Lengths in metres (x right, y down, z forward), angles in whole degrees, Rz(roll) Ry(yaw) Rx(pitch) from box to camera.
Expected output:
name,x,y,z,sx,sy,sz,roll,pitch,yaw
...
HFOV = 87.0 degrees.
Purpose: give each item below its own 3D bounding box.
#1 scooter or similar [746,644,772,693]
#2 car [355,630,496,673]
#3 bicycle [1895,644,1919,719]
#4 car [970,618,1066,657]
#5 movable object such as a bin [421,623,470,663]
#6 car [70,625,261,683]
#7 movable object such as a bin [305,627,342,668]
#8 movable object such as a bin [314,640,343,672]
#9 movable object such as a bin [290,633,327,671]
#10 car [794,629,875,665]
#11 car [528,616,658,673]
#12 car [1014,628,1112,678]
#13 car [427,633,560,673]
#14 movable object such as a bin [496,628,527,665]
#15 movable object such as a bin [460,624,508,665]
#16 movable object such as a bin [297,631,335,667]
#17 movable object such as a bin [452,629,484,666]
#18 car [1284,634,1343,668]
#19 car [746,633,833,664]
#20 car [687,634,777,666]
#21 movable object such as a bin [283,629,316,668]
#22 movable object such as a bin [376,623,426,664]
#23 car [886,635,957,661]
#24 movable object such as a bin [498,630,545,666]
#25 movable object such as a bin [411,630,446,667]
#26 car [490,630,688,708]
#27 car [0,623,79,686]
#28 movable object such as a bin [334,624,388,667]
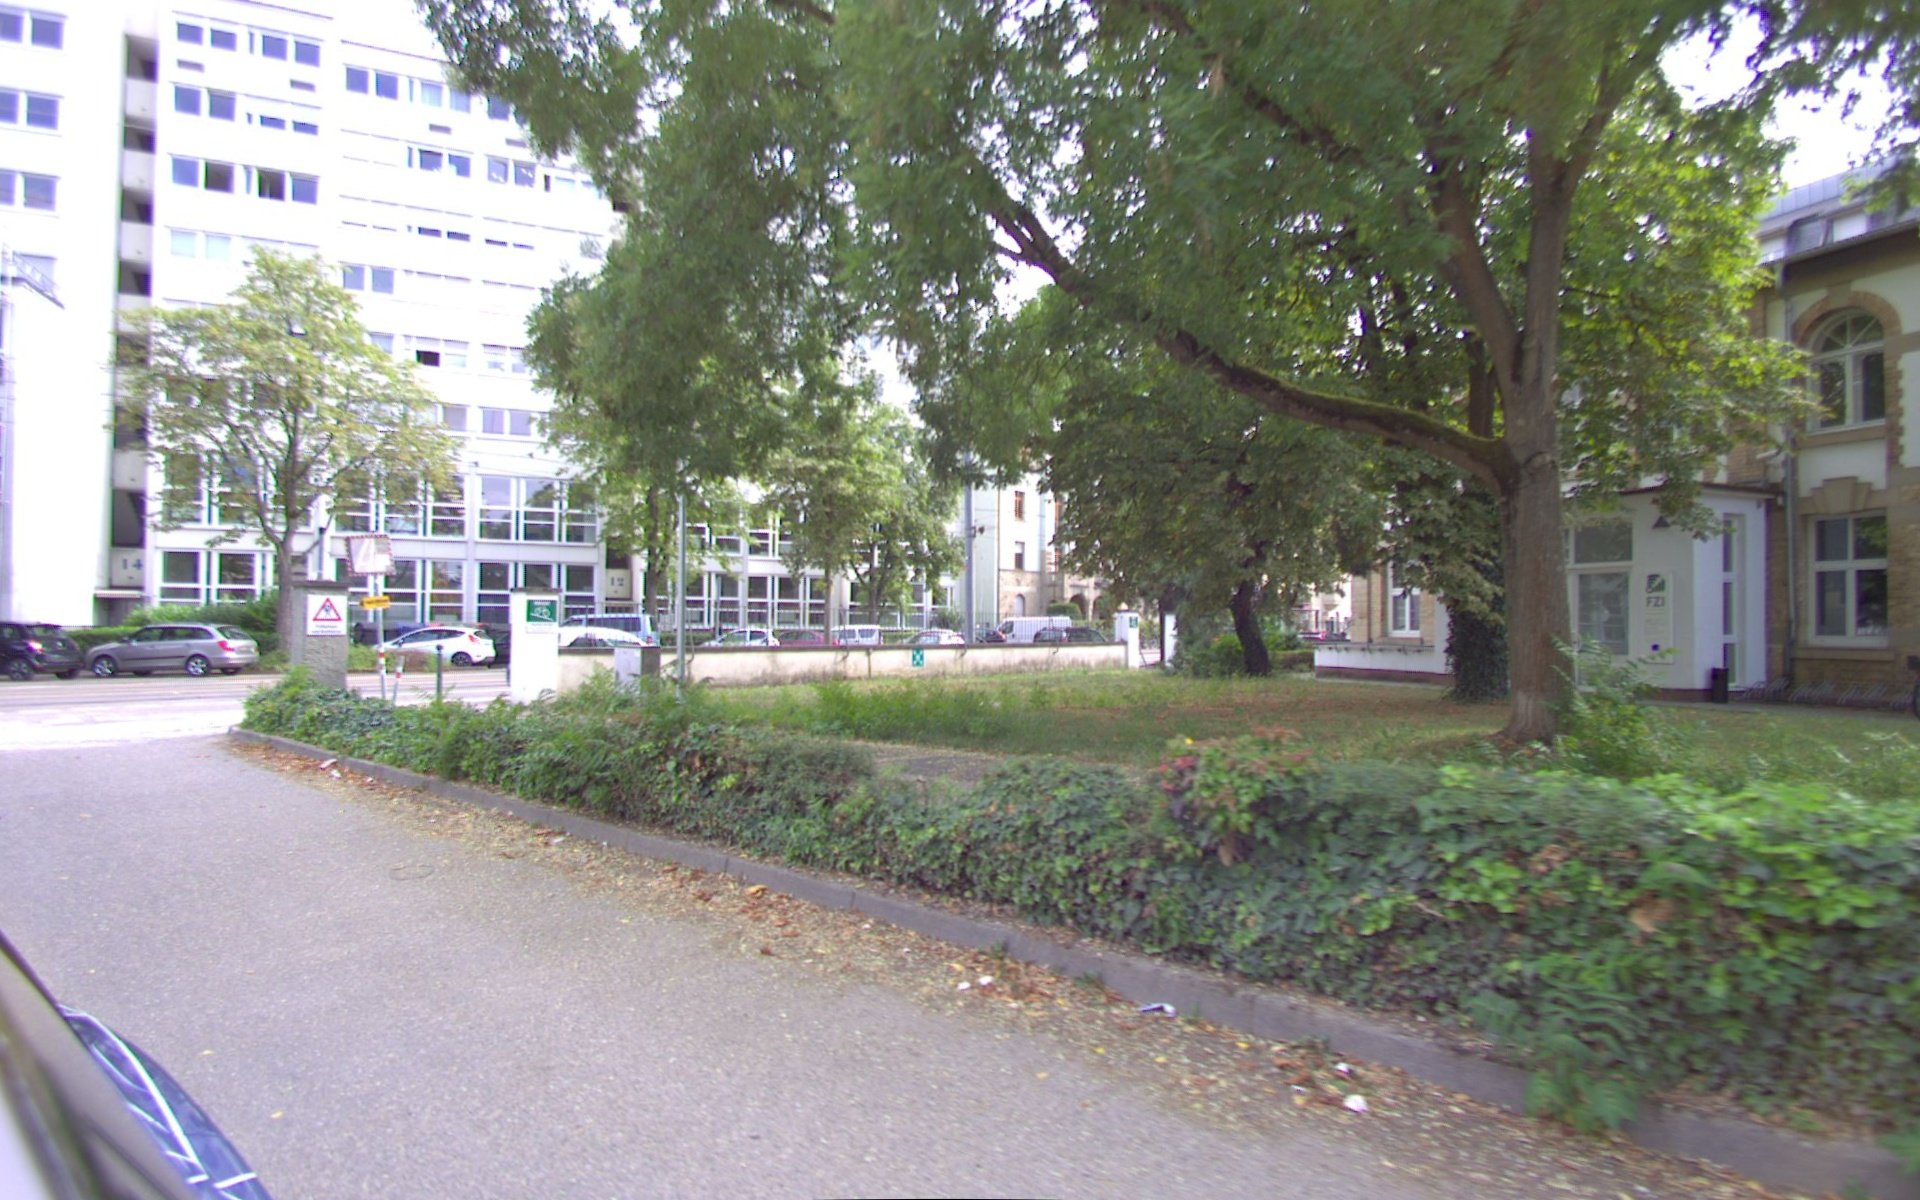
name,x,y,z,sx,sy,sz,roll,pitch,yaw
scooter or similar,-4.861,1.658,24.445,0.363,1.176,1.008,1,-5,-26
car,-17.715,1.706,33.653,3.802,1.403,1.636,0,-2,-6
bicycle,14.422,1.170,14.789,1.944,1.051,0.596,1,-3,-32
car,3.306,2.147,58.652,5.360,2.192,2.149,0,-2,-1
movable object such as a bin,-20.049,1.675,39.448,1.335,1.514,1.334,-2,-3,44
car,-22.272,1.498,28.496,3.990,1.549,1.598,0,-2,-6
movable object such as a bin,-25.533,1.897,40.627,1.159,1.580,1.178,1,-3,-29
movable object such as a bin,-22.490,1.975,36.039,0.732,1.114,0.787,2,-3,-44
movable object such as a bin,-24.539,1.938,38.139,1.099,1.402,1.066,1,-2,-29
car,-5.933,2.214,48.115,3.716,1.630,1.815,0,-2,-1
car,-13.838,1.686,38.410,4.279,2.080,2.003,0,-2,-6
car,3.629,1.801,35.131,1.658,1.646,3.676,-2,-3,39
car,-16.593,1.898,36.141,3.911,1.398,1.817,0,-4,-6
movable object such as a bin,-19.386,2.013,43.773,1.154,1.580,1.184,1,-2,-22
movable object such as a bin,-19.044,1.766,40.501,1.335,1.608,1.334,-2,-3,44
movable object such as a bin,-25.046,1.887,39.385,1.159,1.380,1.178,1,-2,-29
movable object such as a bin,-20.979,2.022,43.172,1.154,1.580,1.184,1,-2,-22
car,18.253,2.601,52.136,1.658,1.646,3.855,-2,-3,39
car,-7.681,2.191,45.886,3.716,1.349,1.815,0,-2,-1
car,-9.761,2.130,43.583,3.589,1.340,1.770,0,-2,-6
movable object such as a bin,-24.074,1.762,36.891,0.896,1.417,1.027,1,-3,-29
movable object such as a bin,-21.183,1.645,38.344,1.335,1.515,1.318,-2,-3,44
car,-2.061,2.524,53.375,3.589,1.340,1.770,0,-2,-6
movable object such as a bin,-18.052,1.963,41.658,1.335,1.469,1.380,-2,-3,44
movable object such as a bin,-22.307,2.027,42.523,1.154,1.525,1.184,1,-2,-22
car,-7.632,1.377,21.056,1.631,1.476,3.555,-2,-3,39
car,-24.906,1.377,25.828,3.367,1.549,1.597,0,-2,-3
movable object such as a bin,-21.978,1.672,37.149,1.331,1.541,1.395,-2,-3,44
